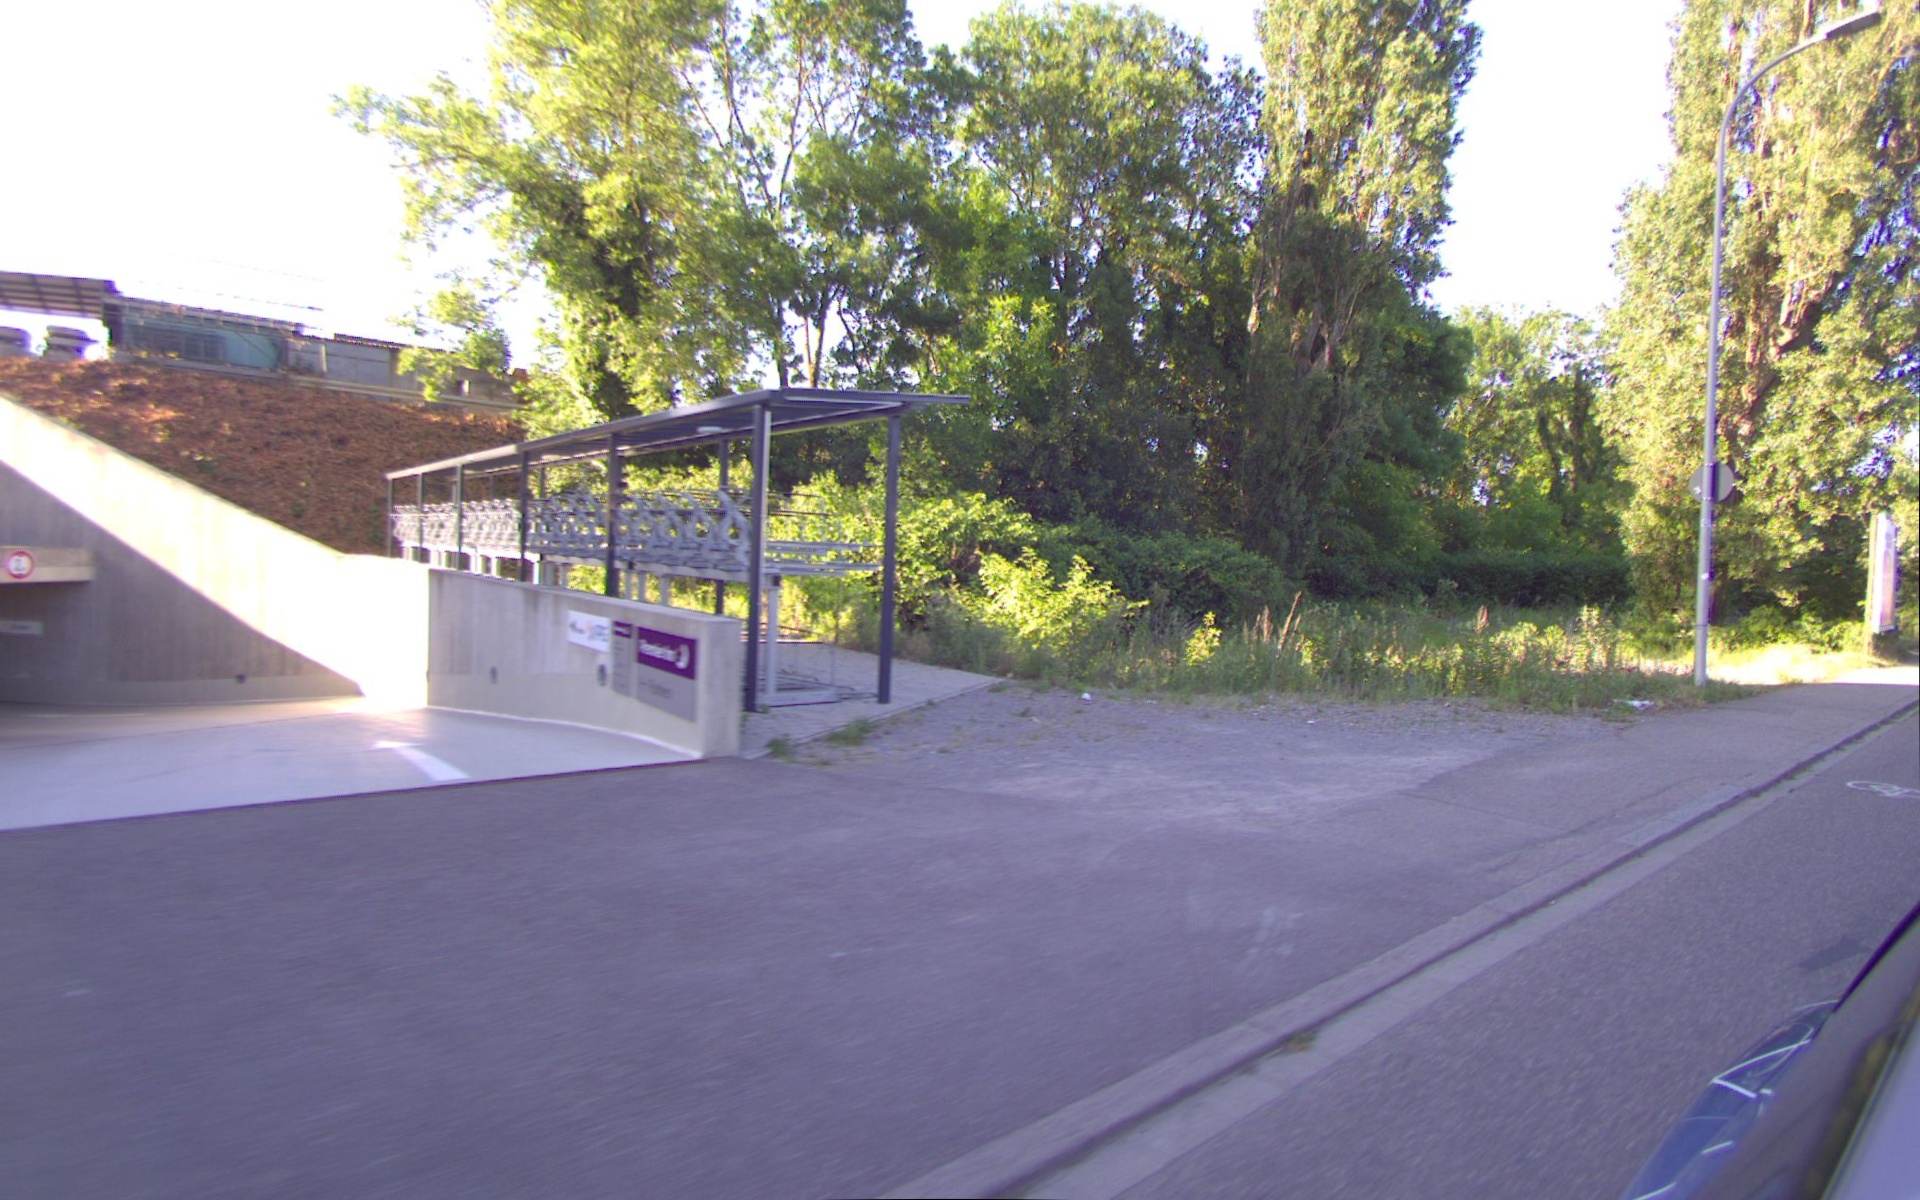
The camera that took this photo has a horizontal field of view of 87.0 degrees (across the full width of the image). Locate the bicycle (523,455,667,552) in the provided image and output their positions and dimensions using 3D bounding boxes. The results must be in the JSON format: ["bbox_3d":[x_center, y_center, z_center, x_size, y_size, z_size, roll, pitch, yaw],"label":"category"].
[{"bbox_3d":[-5.515,-1.423,15.358,1.955,1.337,0.632,0,2,-41],"label":"bicycle"}]
